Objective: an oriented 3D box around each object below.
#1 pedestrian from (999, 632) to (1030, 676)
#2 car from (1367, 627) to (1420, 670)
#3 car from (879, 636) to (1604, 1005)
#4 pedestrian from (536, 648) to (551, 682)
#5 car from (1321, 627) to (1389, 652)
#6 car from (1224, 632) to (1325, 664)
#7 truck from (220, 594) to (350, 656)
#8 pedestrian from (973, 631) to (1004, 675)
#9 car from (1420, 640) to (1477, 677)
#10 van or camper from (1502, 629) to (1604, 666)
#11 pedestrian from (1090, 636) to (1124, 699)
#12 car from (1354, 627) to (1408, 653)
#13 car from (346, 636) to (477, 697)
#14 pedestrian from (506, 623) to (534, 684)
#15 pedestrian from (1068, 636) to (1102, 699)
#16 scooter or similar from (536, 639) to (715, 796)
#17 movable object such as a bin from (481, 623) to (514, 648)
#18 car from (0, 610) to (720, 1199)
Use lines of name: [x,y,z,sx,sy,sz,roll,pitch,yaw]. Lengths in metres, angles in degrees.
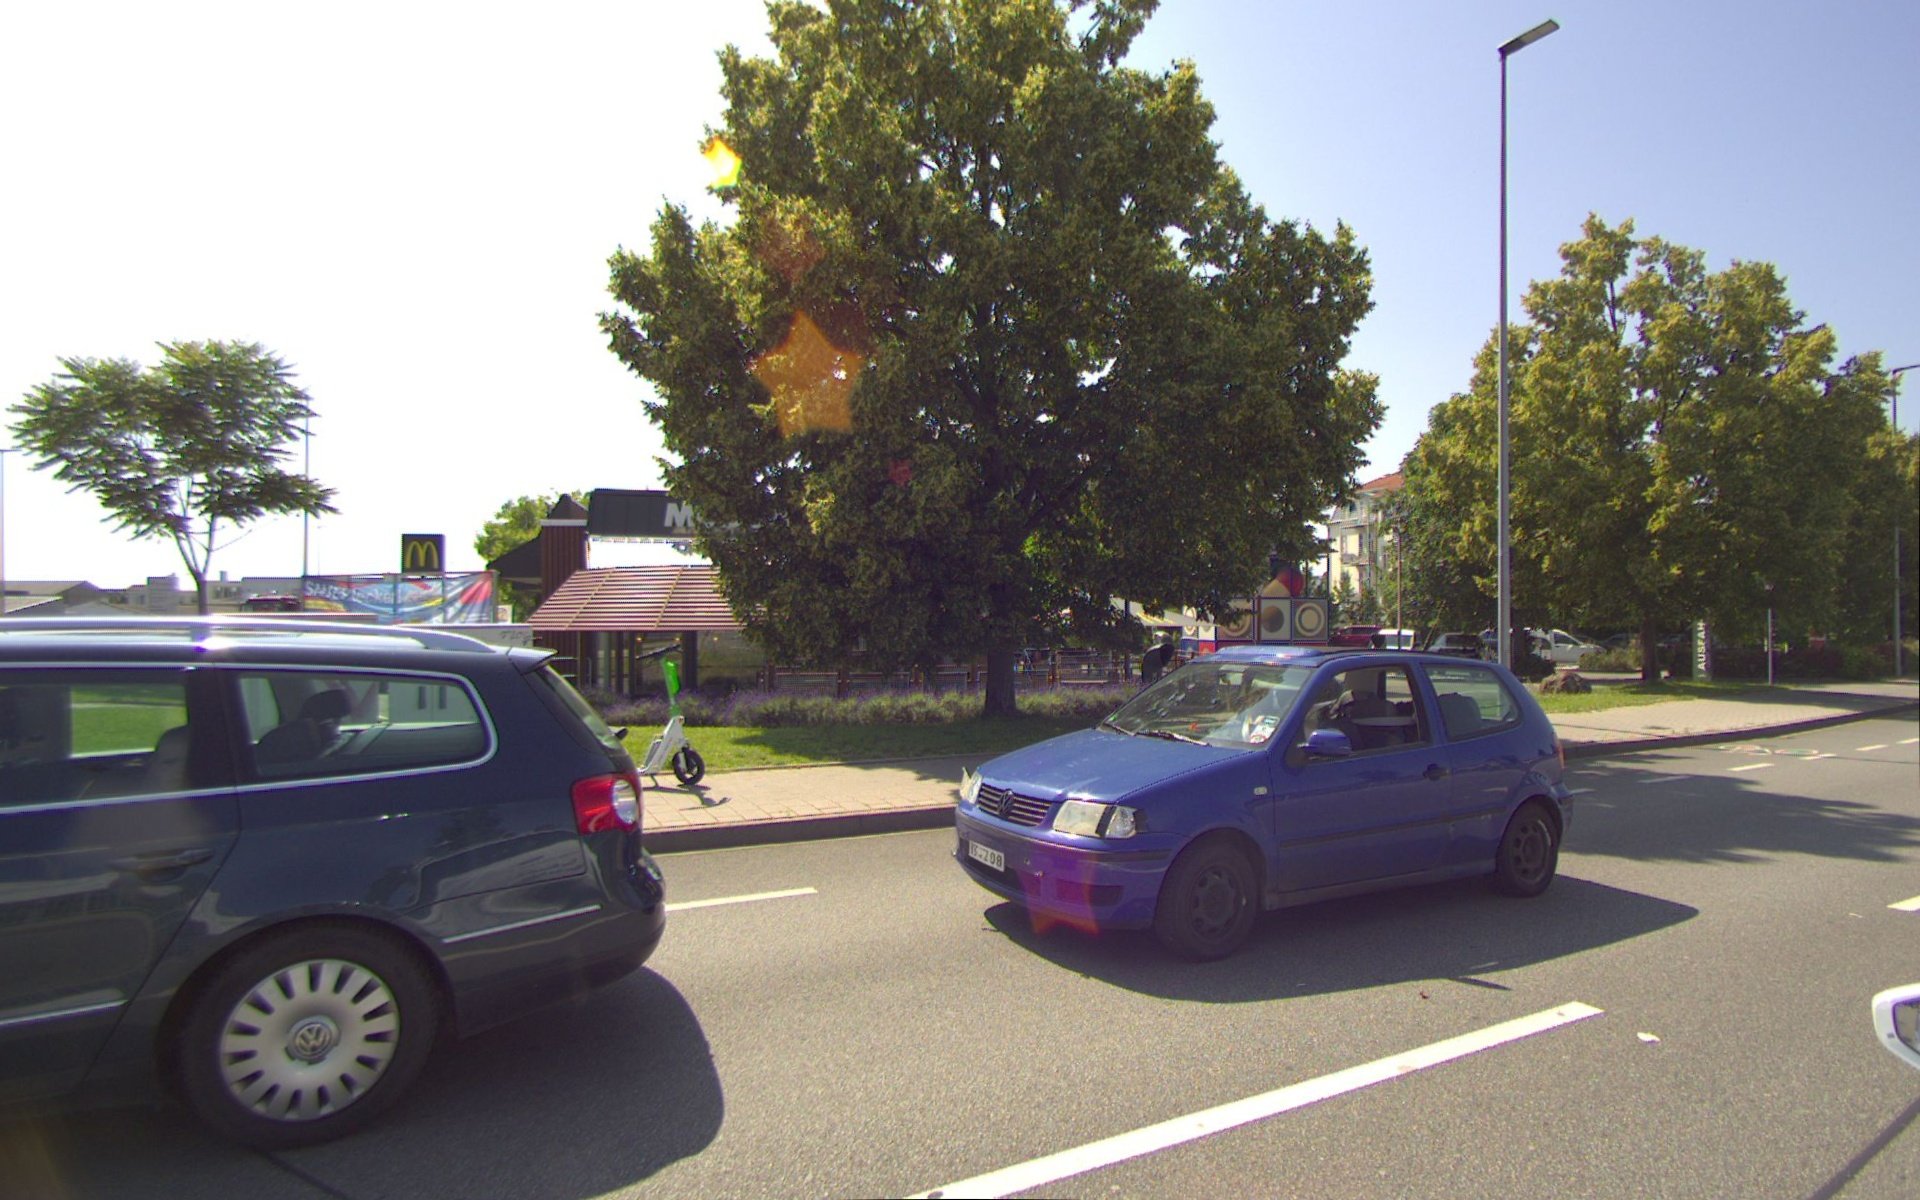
pedestrian: [1.874,1.860,34.670,0.745,1.493,0.827,1,-1,-34]
car: [18.632,2.044,43.098,1.687,1.758,4.242,-1,-2,29]
car: [1.675,0.921,5.641,3.953,1.399,1.648,1,-2,-30]
pedestrian: [-12.708,1.983,30.643,0.375,1.010,0.508,0,-1,-17]
car: [26.878,2.681,68.398,3.940,1.619,1.790,-1,-2,40]
car: [15.019,2.245,47.977,4.312,1.457,1.997,-1,-2,28]
truck: [-40.137,1.472,60.187,3.257,3.431,9.147,0,-1,-12]
pedestrian: [0.999,1.847,35.271,0.745,1.493,0.827,1,-1,-34]
car: [19.394,2.291,40.008,1.577,1.303,4.000,-1,-2,20]
van or camper: [29.147,2.305,49.381,4.213,1.763,1.994,-1,-2,34]
pedestrian: [4.890,2.237,33.462,0.745,2.040,0.827,1,-1,-34]
car: [25.736,2.454,61.533,1.475,1.546,3.428,0,-2,-9]
car: [-15.681,1.850,28.984,1.831,1.572,4.185,0,-2,-6]
pedestrian: [-13.200,1.597,30.153,0.627,1.781,0.890,0,-1,-15]
pedestrian: [4.101,2.197,32.943,0.745,2.040,0.827,1,-1,-34]
scooter or similar: [-2.760,0.934,8.320,1.348,1.200,0.469,1,-1,-28]
movable object such as a bin: [-26.805,2.054,58.291,1.443,1.429,1.453,0,-1,-12]
car: [-3.264,0.800,3.094,4.661,1.516,1.774,1,-2,-27]
